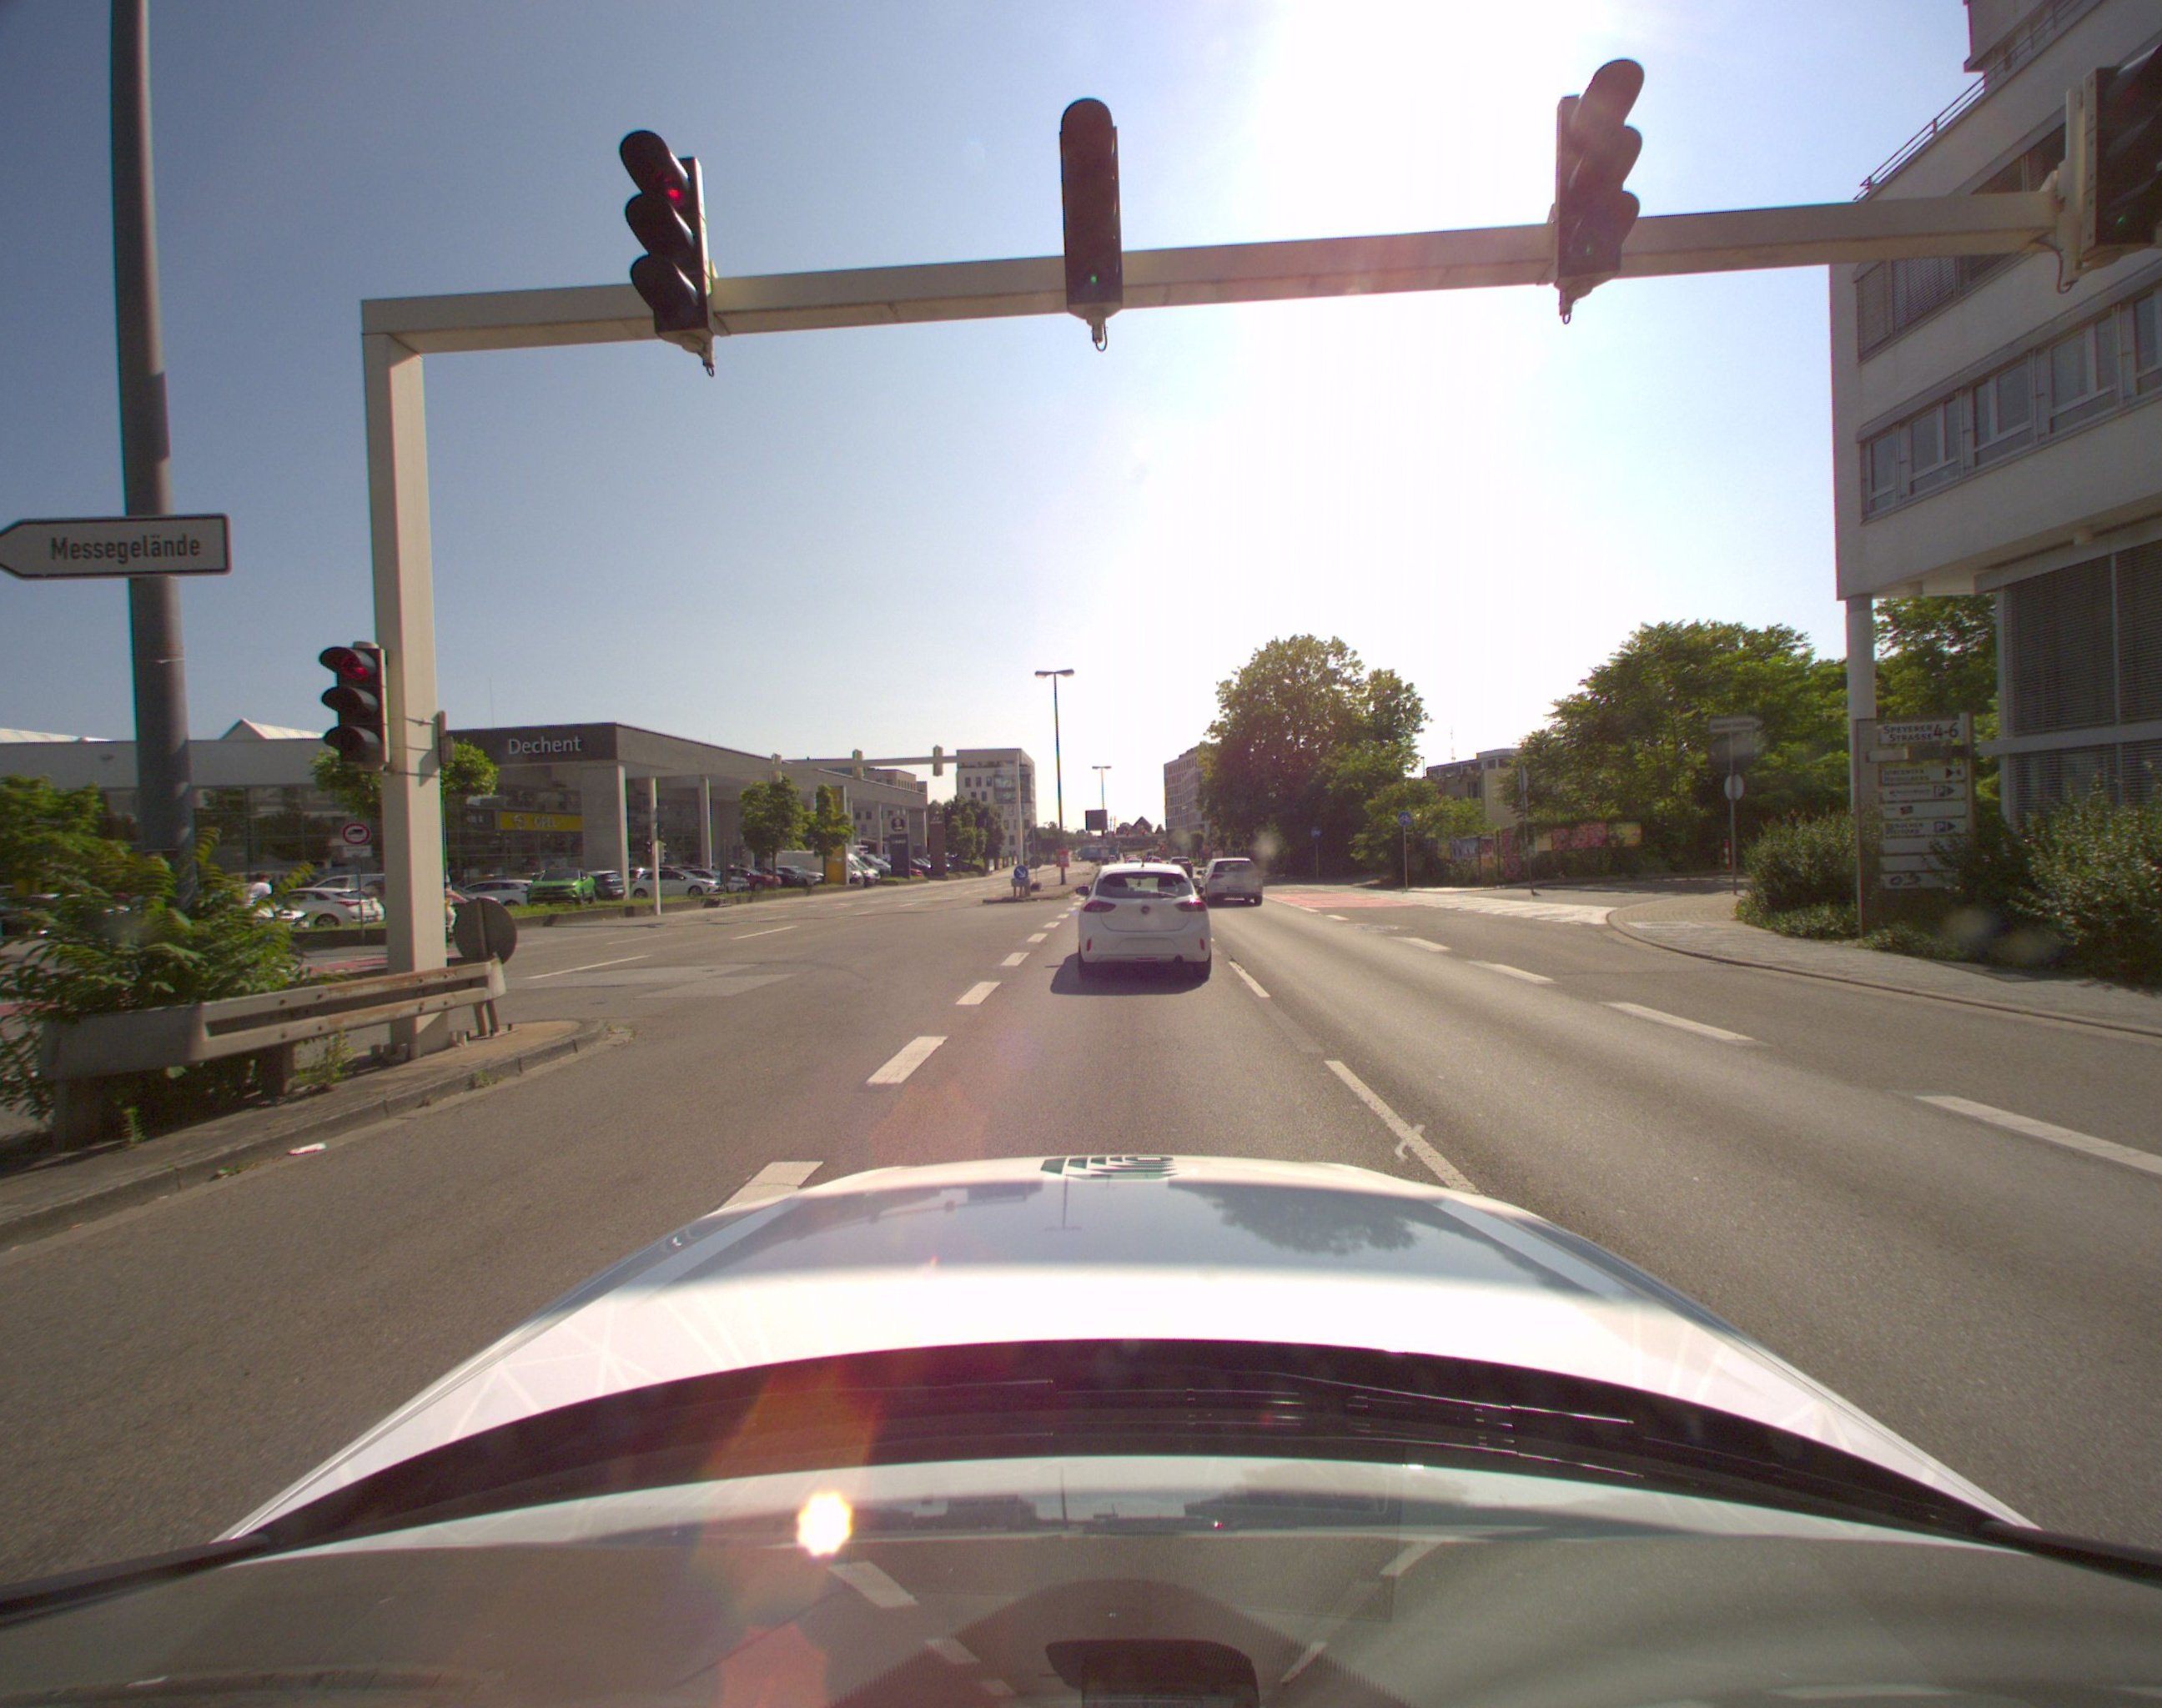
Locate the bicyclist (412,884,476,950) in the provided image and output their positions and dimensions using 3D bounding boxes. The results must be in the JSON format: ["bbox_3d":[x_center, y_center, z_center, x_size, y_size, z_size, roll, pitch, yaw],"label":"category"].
[{"bbox_3d":[-15.176,1.474,19.425,0.768,1.460,1.023,-2,-1,-10],"label":"bicyclist"}]

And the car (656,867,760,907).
[{"bbox_3d":[-18.808,1.637,41.215,4.283,1.765,2.000,-2,-1,0],"label":"car"}]

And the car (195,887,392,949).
[{"bbox_3d":[-25.810,2.057,26.822,4.346,1.696,1.998,-2,-1,-3],"label":"car"}]

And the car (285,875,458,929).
[{"bbox_3d":[-25.946,1.735,29.931,4.351,1.696,1.996,-2,-1,-6],"label":"car"}]

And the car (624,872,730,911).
[{"bbox_3d":[-19.049,1.748,38.581,3.979,1.599,1.997,-2,-1,-4],"label":"car"}]

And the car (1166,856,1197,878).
[{"bbox_3d":[7.718,0.996,62.692,1.985,1.551,4.436,-2,0,3],"label":"car"}]

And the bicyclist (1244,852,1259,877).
[{"bbox_3d":[12.252,0.758,58.636,0.875,1.772,0.864,-2,-1,3],"label":"bicyclist"}]

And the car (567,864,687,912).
[{"bbox_3d":[-19.121,1.405,34.401,3.857,1.838,2.000,-2,-1,0],"label":"car"}]

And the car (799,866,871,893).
[{"bbox_3d":[-17.370,1.759,57.513,4.332,1.696,2.004,-2,-1,8],"label":"car"}]

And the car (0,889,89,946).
[{"bbox_3d":[-35.500,2.106,26.247,4.346,1.696,1.998,-2,-1,-3],"label":"car"}]

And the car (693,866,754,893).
[{"bbox_3d":[-28.277,2.001,64.485,3.976,2.014,1.998,-1,-1,-2],"label":"car"}]

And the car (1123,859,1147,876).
[{"bbox_3d":[4.974,1.218,75.284,1.986,1.447,4.372,-1,-1,1],"label":"car"}]

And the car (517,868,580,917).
[{"bbox_3d":[-20.658,1.501,31.623,1.914,1.733,3.259,-2,-2,-34],"label":"car"}]

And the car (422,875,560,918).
[{"bbox_3d":[-25.521,1.822,35.351,4.350,1.591,1.996,-2,-1,-5],"label":"car"}]

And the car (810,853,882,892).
[{"bbox_3d":[-17.287,1.374,59.966,4.467,2.684,2.135,-2,-1,11],"label":"car"}]

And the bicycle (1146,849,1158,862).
[{"bbox_3d":[12.798,0.310,146.514,1.985,2.157,4.003,-2,-1,3],"label":"bicycle"}]

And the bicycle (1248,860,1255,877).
[{"bbox_3d":[12.270,1.024,58.636,0.371,1.216,1.154,-1,-1,3],"label":"bicycle"}]

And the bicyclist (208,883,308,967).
[{"bbox_3d":[-15.338,1.300,15.210,0.764,1.460,1.028,-2,-1,5],"label":"bicyclist"}]

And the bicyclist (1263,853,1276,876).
[{"bbox_3d":[13.419,0.744,57.998,0.687,1.643,0.775,-2,-1,-6],"label":"bicyclist"}]

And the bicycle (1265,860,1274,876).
[{"bbox_3d":[13.401,0.981,57.946,0.372,1.147,1.034,-1,-1,1],"label":"bicycle"}]

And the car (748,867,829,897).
[{"bbox_3d":[-18.554,1.753,51.792,4.342,1.696,2.000,-2,-1,0],"label":"car"}]

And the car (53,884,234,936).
[{"bbox_3d":[-36.024,2.123,31.402,4.350,1.696,1.996,-2,-1,-6],"label":"car"}]

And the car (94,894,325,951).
[{"bbox_3d":[-25.107,1.957,23.614,4.346,1.300,1.998,-2,0,-3],"label":"car"}]

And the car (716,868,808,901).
[{"bbox_3d":[-18.080,1.712,46.328,4.342,1.696,2.000,-2,-1,0],"label":"car"}]

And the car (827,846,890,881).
[{"bbox_3d":[-17.803,0.739,65.318,4.332,2.601,2.004,-2,-1,8],"label":"car"}]

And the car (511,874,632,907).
[{"bbox_3d":[-23.966,1.711,38.419,4.350,1.268,1.996,-3,-2,-5],"label":"car"}]

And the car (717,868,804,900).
[{"bbox_3d":[-19.078,1.759,48.601,4.342,1.696,2.000,-2,-1,0],"label":"car"}]

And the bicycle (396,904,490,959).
[{"bbox_3d":[-15.169,1.810,19.443,0.768,1.116,2.155,-2,0,-9],"label":"bicycle"}]

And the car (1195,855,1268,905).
[{"bbox_3d":[4.811,0.809,26.553,1.800,1.429,4.003,-2,-1,3],"label":"car"}]

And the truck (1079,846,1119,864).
[{"bbox_3d":[4.316,0.204,194.823,9.117,3.834,3.052,-2,-1,-30],"label":"truck"}]

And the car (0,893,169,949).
[{"bbox_3d":[-35.916,2.384,29.012,4.346,1.696,1.998,-2,-1,-3],"label":"car"}]

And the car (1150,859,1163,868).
[{"bbox_3d":[11.720,1.486,126.315,1.799,1.386,4.003,-1,-1,3],"label":"car"}]

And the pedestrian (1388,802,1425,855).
[{"bbox_3d":[12.979,-0.997,32.492,1.023,2.014,1.039,-2,-1,2],"label":"pedestrian"}]

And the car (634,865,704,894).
[{"bbox_3d":[-29.532,1.822,58.530,3.976,2.014,1.998,-1,-1,-2],"label":"car"}]

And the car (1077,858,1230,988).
[{"bbox_3d":[0.966,0.839,11.736,1.772,1.494,4.003,-2,0,3],"label":"car"}]

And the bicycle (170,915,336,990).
[{"bbox_3d":[-15.315,1.788,15.172,0.764,1.116,2.164,-2,0,4],"label":"bicycle"}]

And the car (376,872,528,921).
[{"bbox_3d":[-25.128,1.657,32.692,4.351,1.696,1.996,-2,-1,-6],"label":"car"}]
